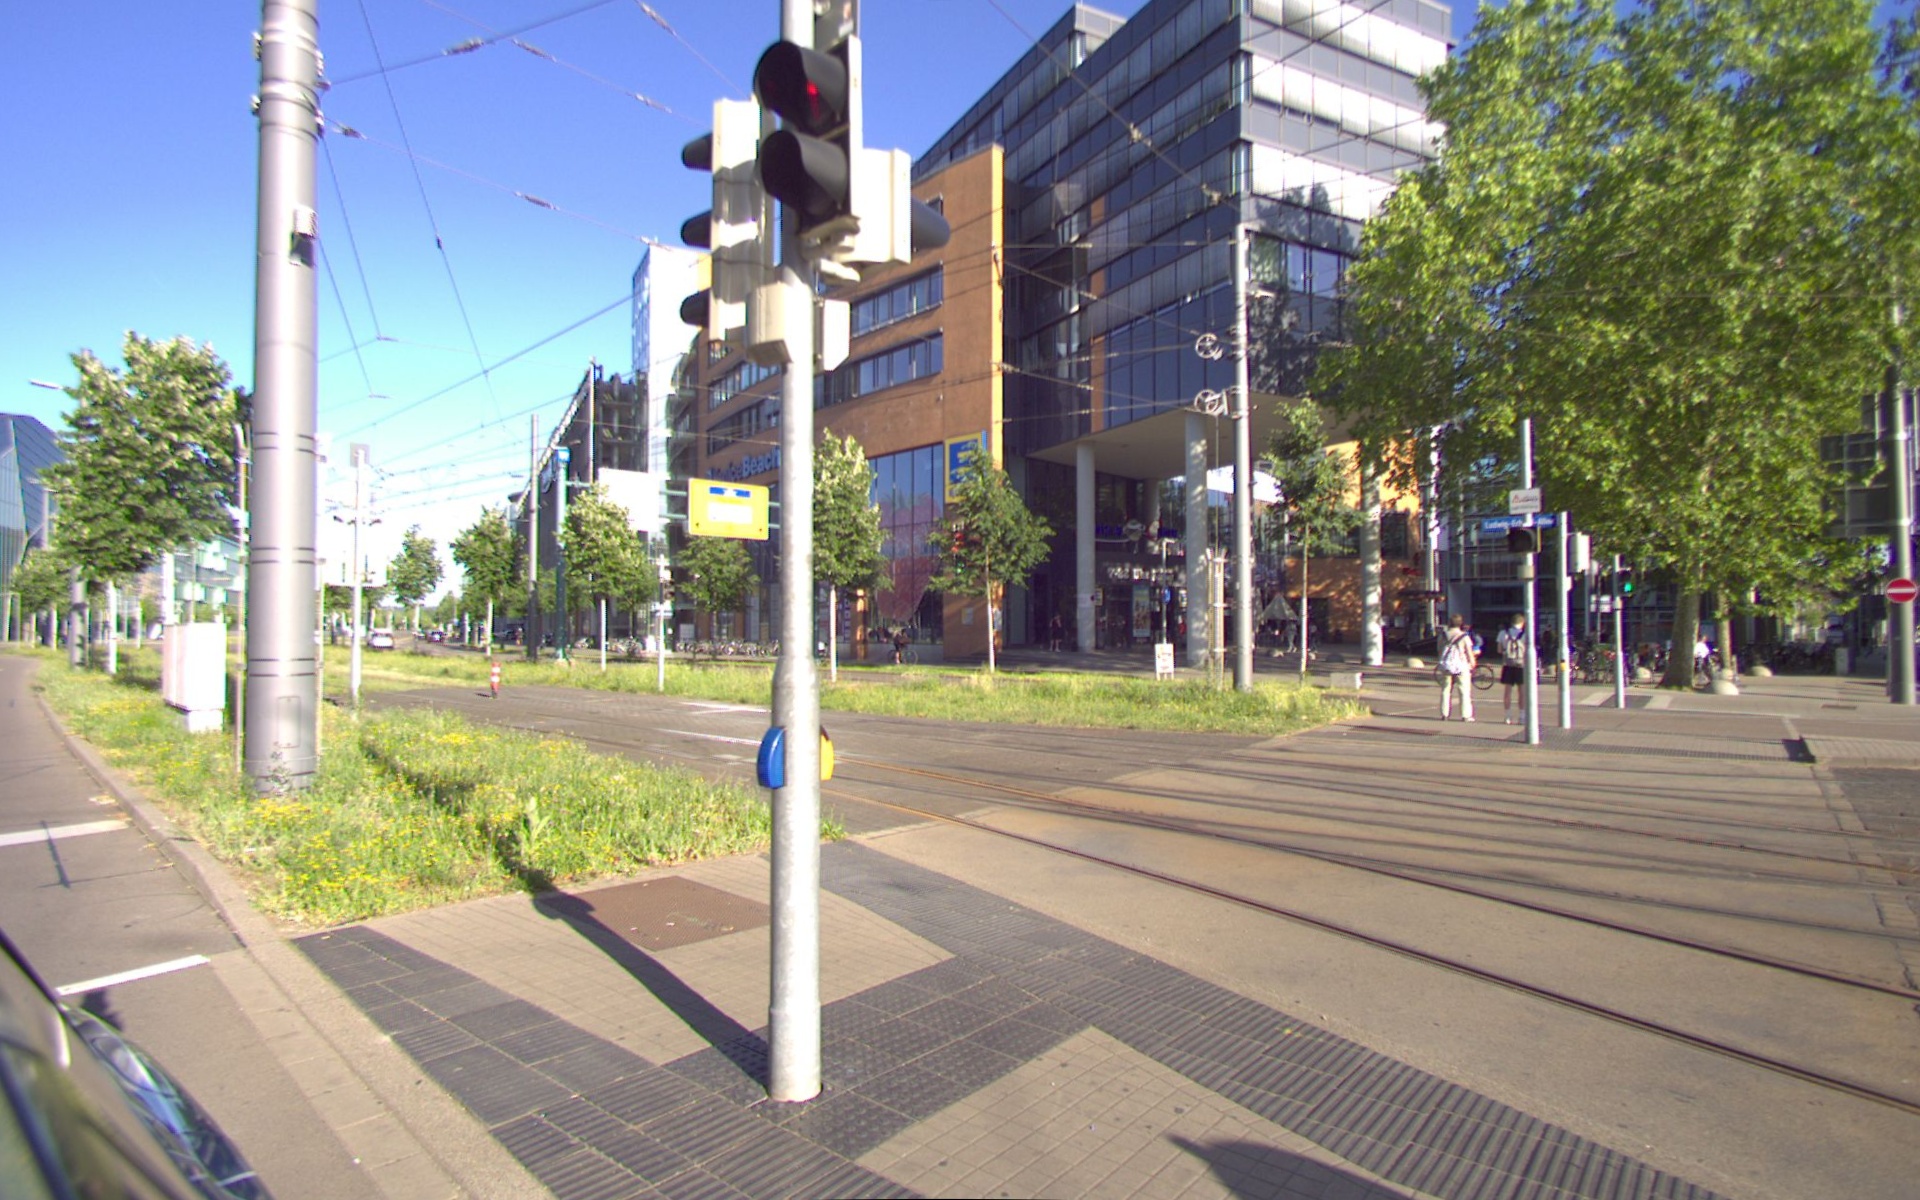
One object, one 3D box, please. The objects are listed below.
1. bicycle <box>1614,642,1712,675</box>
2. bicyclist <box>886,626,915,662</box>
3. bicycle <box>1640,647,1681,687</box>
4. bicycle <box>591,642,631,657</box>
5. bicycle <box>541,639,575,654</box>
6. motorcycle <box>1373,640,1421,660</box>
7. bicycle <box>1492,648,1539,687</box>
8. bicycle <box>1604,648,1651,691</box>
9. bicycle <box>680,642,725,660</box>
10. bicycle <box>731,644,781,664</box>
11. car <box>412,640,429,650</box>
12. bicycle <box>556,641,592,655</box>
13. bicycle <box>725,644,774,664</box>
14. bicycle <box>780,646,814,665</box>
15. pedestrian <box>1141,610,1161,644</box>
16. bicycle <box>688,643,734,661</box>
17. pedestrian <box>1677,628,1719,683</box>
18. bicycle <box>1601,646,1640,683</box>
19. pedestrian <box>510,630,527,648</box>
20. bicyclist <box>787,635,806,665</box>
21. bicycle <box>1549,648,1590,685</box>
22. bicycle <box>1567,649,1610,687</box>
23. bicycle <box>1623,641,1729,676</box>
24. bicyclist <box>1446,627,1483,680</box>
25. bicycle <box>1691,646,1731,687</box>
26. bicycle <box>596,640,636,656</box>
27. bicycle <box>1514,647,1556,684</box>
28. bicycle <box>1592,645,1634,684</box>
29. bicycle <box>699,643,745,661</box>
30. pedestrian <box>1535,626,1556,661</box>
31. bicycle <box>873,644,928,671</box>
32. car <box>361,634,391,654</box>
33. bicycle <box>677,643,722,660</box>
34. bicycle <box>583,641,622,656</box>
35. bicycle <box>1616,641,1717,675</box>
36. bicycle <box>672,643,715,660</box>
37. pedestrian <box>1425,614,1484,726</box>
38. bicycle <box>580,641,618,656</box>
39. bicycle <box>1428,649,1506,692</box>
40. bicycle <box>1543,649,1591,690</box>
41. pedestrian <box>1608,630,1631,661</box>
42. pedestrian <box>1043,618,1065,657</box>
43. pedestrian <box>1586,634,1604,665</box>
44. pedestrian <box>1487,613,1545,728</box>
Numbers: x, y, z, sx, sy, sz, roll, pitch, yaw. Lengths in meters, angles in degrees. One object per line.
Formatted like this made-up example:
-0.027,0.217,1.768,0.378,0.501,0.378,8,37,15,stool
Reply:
30.280,2.503,43.703,3.349,1.364,1.024,-1,-2,30,bicycle
-2.599,1.921,44.131,0.882,1.560,0.940,2,-4,-44,bicyclist
21.307,2.013,30.748,0.599,1.137,2.332,-3,-4,44,bicycle
-25.919,3.653,75.226,2.646,1.112,0.898,1,-3,-34,bicycle
-34.708,4.008,87.375,2.646,1.198,0.898,1,-3,-34,bicycle
24.281,2.750,56.217,0.818,1.066,2.348,1,-2,-36,motorcycle
17.019,2.045,30.988,2.331,1.137,0.599,2,-4,-44,bicycle
18.838,1.946,28.550,2.331,1.137,0.599,2,-4,-44,bicycle
-16.462,3.260,64.703,2.646,1.112,0.898,1,-3,-34,bicycle
-11.550,3.056,57.467,2.646,1.112,0.898,1,-3,-34,bicycle
-78.256,6.518,146.731,1.599,1.539,4.369,2,-3,-21,car
-31.527,3.939,82.672,2.646,1.112,0.898,1,-3,-34,bicycle
-12.135,3.103,58.337,2.646,1.112,0.898,1,-3,-34,bicycle
-8.505,2.863,52.786,0.681,0.957,2.068,2,-3,-45,bicycle
9.662,1.381,51.189,0.699,1.718,0.723,-2,-3,45,pedestrian
-15.540,3.227,63.306,2.646,1.112,0.898,1,-3,-34,bicycle
23.470,1.764,32.201,0.705,1.693,0.833,1,-4,-37,pedestrian
21.657,2.101,33.148,0.599,1.137,2.332,-3,-4,44,bicycle
-42.487,3.734,97.368,1.094,1.694,1.058,-2,-3,39,pedestrian
-8.542,2.589,52.835,0.703,1.541,0.681,-2,-3,45,bicyclist
19.584,2.108,32.496,0.599,1.137,2.332,-3,-4,44,bicycle
19.657,2.098,31.628,0.599,1.137,2.332,-3,-4,44,bicycle
28.645,2.318,40.597,3.349,1.364,1.024,-1,-2,30,bicycle
14.381,1.508,28.854,0.684,1.472,0.754,2,-3,-45,bicyclist
22.044,1.941,29.689,0.599,1.137,2.332,-3,-4,44,bicycle
-24.977,3.493,73.523,2.646,1.112,0.898,1,-3,-34,bicycle
18.979,2.141,33.377,0.599,1.137,2.332,-3,-4,44,bicycle
20.077,1.976,31.109,0.599,1.137,2.332,-3,-4,44,bicycle
-14.648,3.199,62.302,2.646,1.112,0.898,1,-3,-34,bicycle
27.671,2.056,47.851,0.699,1.665,0.696,-2,-2,43,pedestrian
-2.600,2.496,44.094,0.882,1.112,2.694,2,-4,-43,bicycle
-47.055,3.510,81.538,1.600,1.539,4.814,1,-2,-36,car
-16.966,3.338,65.932,2.646,1.112,0.898,1,-3,-34,bicycle
-27.379,3.708,77.551,2.646,1.112,0.827,1,-3,-34,bicycle
29.529,2.425,42.401,3.349,1.364,1.024,-1,-2,30,bicycle
-17.615,3.407,66.923,2.646,1.112,0.898,1,-3,-34,bicycle
8.618,1.198,17.631,0.699,1.884,0.723,-2,-3,45,pedestrian
-27.937,3.731,78.282,2.646,1.112,0.898,1,-3,-34,bicycle
14.411,1.987,28.806,0.684,1.145,1.852,2,-3,-44,bicycle
17.735,2.004,29.541,2.331,1.137,0.599,2,-4,-44,bicycle
34.494,2.367,52.934,0.721,1.635,0.701,0,-2,-13,pedestrian
4.187,1.659,45.103,0.699,1.718,0.723,-2,-3,45,pedestrian
35.875,2.799,57.157,0.699,1.727,0.723,-2,-3,43,pedestrian
9.402,1.178,17.125,0.673,1.884,0.723,-2,-3,43,pedestrian
